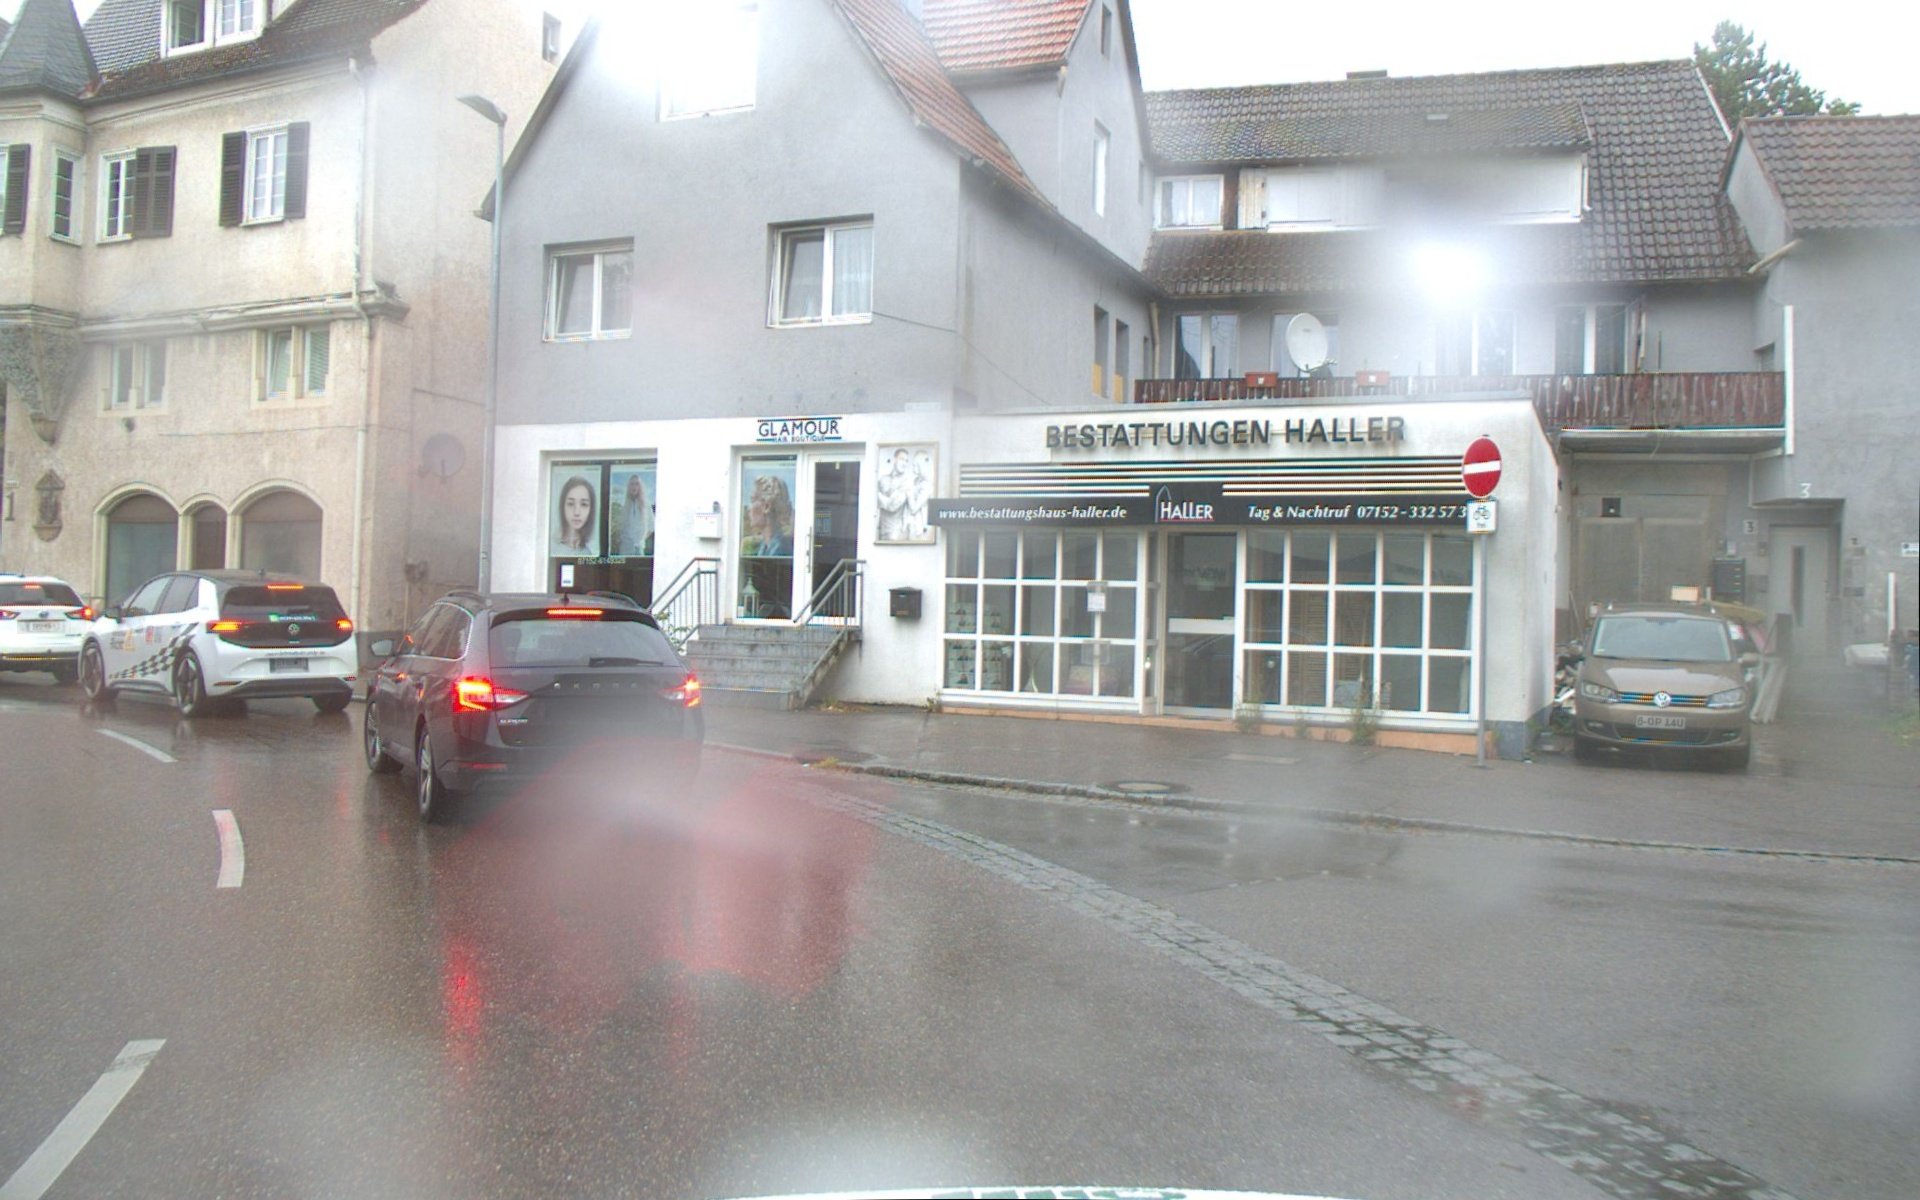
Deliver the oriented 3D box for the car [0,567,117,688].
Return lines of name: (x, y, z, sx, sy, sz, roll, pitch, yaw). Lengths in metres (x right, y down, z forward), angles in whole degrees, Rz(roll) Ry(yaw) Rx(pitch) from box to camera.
car: (-13.568, 0.310, 22.906, 4.083, 1.491, 1.784, 2, 2, 37)

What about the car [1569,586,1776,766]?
car: (8.193, 0.756, 19.394, 1.884, 1.758, 4.670, 1, 1, 19)

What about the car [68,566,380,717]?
car: (-8.511, 0.389, 18.963, 4.166, 1.543, 1.784, 1, 1, 42)

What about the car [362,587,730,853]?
car: (-3.168, 0.695, 11.998, 1.711, 1.475, 4.205, 0, 1, -27)
